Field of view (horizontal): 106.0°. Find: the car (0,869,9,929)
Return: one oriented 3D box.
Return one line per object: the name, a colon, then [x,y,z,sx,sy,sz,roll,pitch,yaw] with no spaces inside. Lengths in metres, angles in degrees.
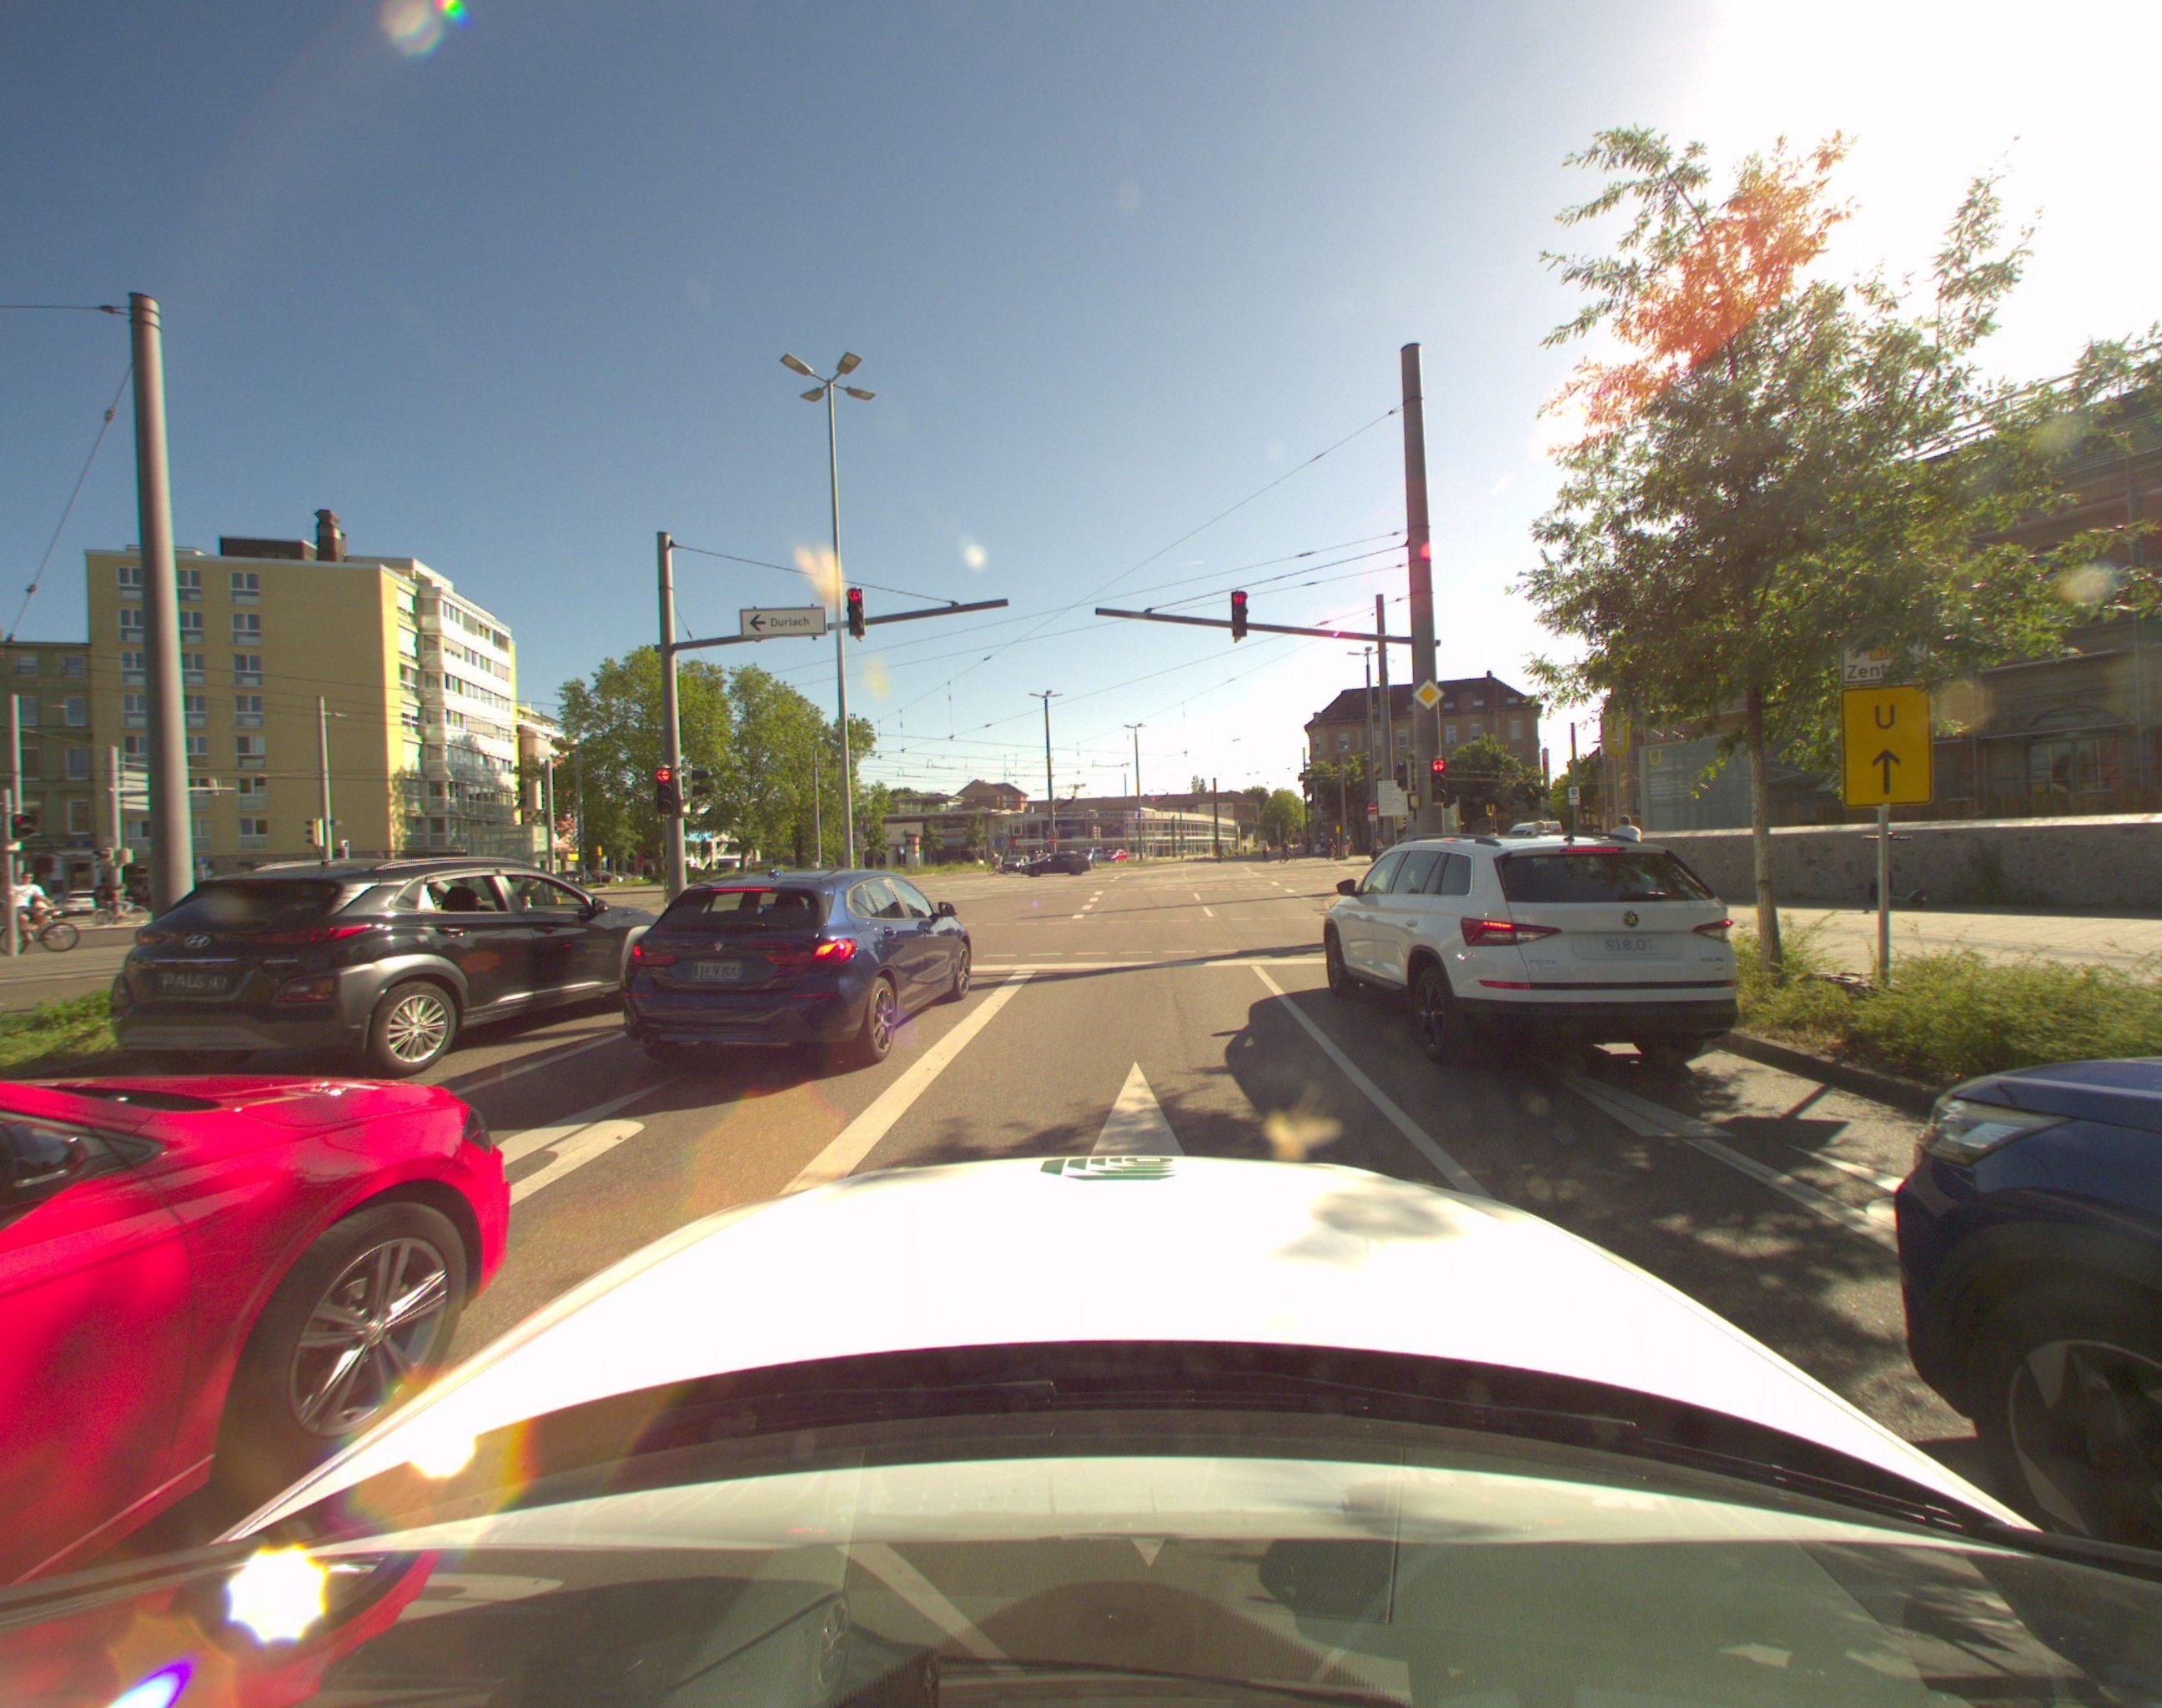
car: [-47.486,1.984,32.577,5.411,2.508,1.990,-2,0,-15]

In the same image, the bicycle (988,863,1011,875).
bicycle: [-6.087,1.113,60.677,1.634,0.758,0.421,-2,0,-19]

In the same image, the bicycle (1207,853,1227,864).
bicycle: [12.397,0.414,74.085,1.941,0.870,0.736,-2,0,-41]

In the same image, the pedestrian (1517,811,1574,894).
pedestrian: [9.126,-0.030,16.032,0.547,1.562,0.857,-2,0,-4]

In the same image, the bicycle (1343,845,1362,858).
bicycle: [25.146,-0.199,75.427,2.026,1.120,0.544,-2,0,-32]

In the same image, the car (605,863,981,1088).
car: [-2.187,0.836,7.447,1.702,1.445,4.037,-1,0,5]

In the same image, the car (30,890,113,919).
car: [-54.417,2.727,43.895,3.832,1.427,1.787,-2,0,23]

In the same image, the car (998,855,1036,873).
car: [-5.369,0.825,68.977,1.689,1.354,3.720,-2,0,21]

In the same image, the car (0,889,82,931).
car: [-47.178,2.483,35.466,4.301,1.654,1.849,-2,0,-15]

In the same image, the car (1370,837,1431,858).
car: [24.505,-0.495,62.488,4.263,1.503,1.694,-2,0,-19]

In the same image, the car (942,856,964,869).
car: [-17.041,1.119,108.900,1.957,1.706,4.088,-2,0,4]

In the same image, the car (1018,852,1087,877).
car: [-1.893,0.682,53.704,4.219,1.400,1.849,-2,0,-16]

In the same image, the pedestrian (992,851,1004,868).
pedestrian: [-6.202,0.428,60.647,0.749,1.204,0.421,-2,0,-19]

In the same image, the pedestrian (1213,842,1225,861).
pedestrian: [12.623,-0.223,74.358,0.722,1.632,0.796,-2,0,-41]

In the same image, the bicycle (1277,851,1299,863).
bicycle: [17.412,0.252,68.520,1.941,0.870,0.737,-2,0,-39]

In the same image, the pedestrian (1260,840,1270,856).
pedestrian: [18.476,-0.605,81.881,0.739,1.523,0.722,-2,0,28]

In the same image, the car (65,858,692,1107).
car: [-5.455,0.831,7.175,1.749,1.517,4.017,-1,0,7]

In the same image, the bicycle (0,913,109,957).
bicycle: [-23.449,1.836,18.481,1.887,0.878,0.678,-2,0,-2]

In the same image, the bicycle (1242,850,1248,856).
bicycle: [28.704,-0.207,142.165,0.803,1.045,2.136,-2,0,17]

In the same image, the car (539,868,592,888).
car: [-46.642,2.166,73.753,3.739,1.662,1.586,-2,0,-15]

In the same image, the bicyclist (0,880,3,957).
bicyclist: [-23.782,1.414,17.376,0.776,1.654,0.682,-2,0,19]

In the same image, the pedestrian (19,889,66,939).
pedestrian: [-34.742,1.987,27.264,0.753,1.573,0.667,-2,0,-32]

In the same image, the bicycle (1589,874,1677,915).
bicycle: [10.126,0.725,14.998,0.536,0.655,1.466,-3,0,-3]

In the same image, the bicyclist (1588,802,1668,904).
bicyclist: [10.110,-0.018,15.084,0.745,1.778,0.923,-3,0,-3]

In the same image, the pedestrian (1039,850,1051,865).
pedestrian: [-2.877,0.291,64.762,0.795,1.204,0.557,-2,0,-16]

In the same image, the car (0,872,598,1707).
car: [-2.690,0.816,1.032,1.662,1.473,3.857,-1,0,3]

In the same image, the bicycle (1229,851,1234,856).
bicycle: [24.543,-0.033,132.882,0.418,0.718,1.484,-2,0,27]

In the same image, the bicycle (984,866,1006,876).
bicycle: [-6.591,1.287,62.622,1.632,0.718,0.422,-2,0,-16]

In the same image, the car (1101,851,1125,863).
car: [3.744,0.336,93.670,1.612,1.364,3.705,-2,0,21]

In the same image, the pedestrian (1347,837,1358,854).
pedestrian: [25.140,-0.787,75.446,0.709,1.517,0.543,-2,0,-31]

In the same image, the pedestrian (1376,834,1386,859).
pedestrian: [24.388,-0.590,66.177,0.573,2.013,0.449,-2,0,-14]

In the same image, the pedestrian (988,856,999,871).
pedestrian: [-6.714,0.736,62.593,0.749,1.127,0.422,-2,0,-16]

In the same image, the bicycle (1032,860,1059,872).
bicycle: [-2.836,0.930,64.768,2.009,0.913,0.559,-2,0,-16]

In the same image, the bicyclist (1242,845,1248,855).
bicyclist: [28.549,-0.733,141.907,0.803,1.623,0.933,-2,0,17]

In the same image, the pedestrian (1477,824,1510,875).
pedestrian: [15.545,-0.167,30.698,0.887,1.859,0.933,-2,0,39]

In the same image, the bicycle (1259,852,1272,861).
bicycle: [18.559,0.219,81.976,0.736,0.870,1.943,-2,0,28]

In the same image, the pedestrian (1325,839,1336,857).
pedestrian: [21.811,-0.511,71.221,0.710,1.517,0.541,-2,0,-45]

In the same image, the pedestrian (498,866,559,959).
pedestrian: [-9.668,1.002,14.264,0.353,1.555,0.765,-2,0,22]

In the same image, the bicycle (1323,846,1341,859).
bicycle: [22.003,-0.141,71.385,2.031,1.120,0.541,-2,0,-45]

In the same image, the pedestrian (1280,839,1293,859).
pedestrian: [17.277,-0.407,68.432,0.721,1.632,0.749,-2,0,-39]

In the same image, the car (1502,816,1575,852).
car: [37.746,-1.640,67.163,5.931,2.744,2.127,-2,0,-24]

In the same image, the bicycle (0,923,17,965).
bicycle: [-23.711,1.939,17.357,1.876,0.878,0.682,-2,0,19]

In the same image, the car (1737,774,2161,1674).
car: [2.694,0.645,0.336,1.693,1.605,4.087,-1,0,3]

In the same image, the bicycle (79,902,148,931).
bicycle: [-37.806,2.431,31.850,0.614,0.945,1.688,-2,0,4]

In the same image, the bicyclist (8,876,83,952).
bicyclist: [-23.487,1.342,18.482,0.780,1.654,0.678,-2,0,-2]

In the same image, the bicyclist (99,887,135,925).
bicyclist: [-37.819,2.028,31.957,0.614,1.443,0.617,-2,0,4]

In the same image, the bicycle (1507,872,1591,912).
bicycle: [9.157,0.728,16.002,0.536,0.655,1.723,-5,0,-3]

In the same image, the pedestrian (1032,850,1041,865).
pedestrian: [-3.765,0.316,68.539,0.419,1.204,0.754,-2,0,21]

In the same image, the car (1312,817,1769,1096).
car: [3.387,0.625,7.090,1.688,1.642,4.300,-2,0,3]
